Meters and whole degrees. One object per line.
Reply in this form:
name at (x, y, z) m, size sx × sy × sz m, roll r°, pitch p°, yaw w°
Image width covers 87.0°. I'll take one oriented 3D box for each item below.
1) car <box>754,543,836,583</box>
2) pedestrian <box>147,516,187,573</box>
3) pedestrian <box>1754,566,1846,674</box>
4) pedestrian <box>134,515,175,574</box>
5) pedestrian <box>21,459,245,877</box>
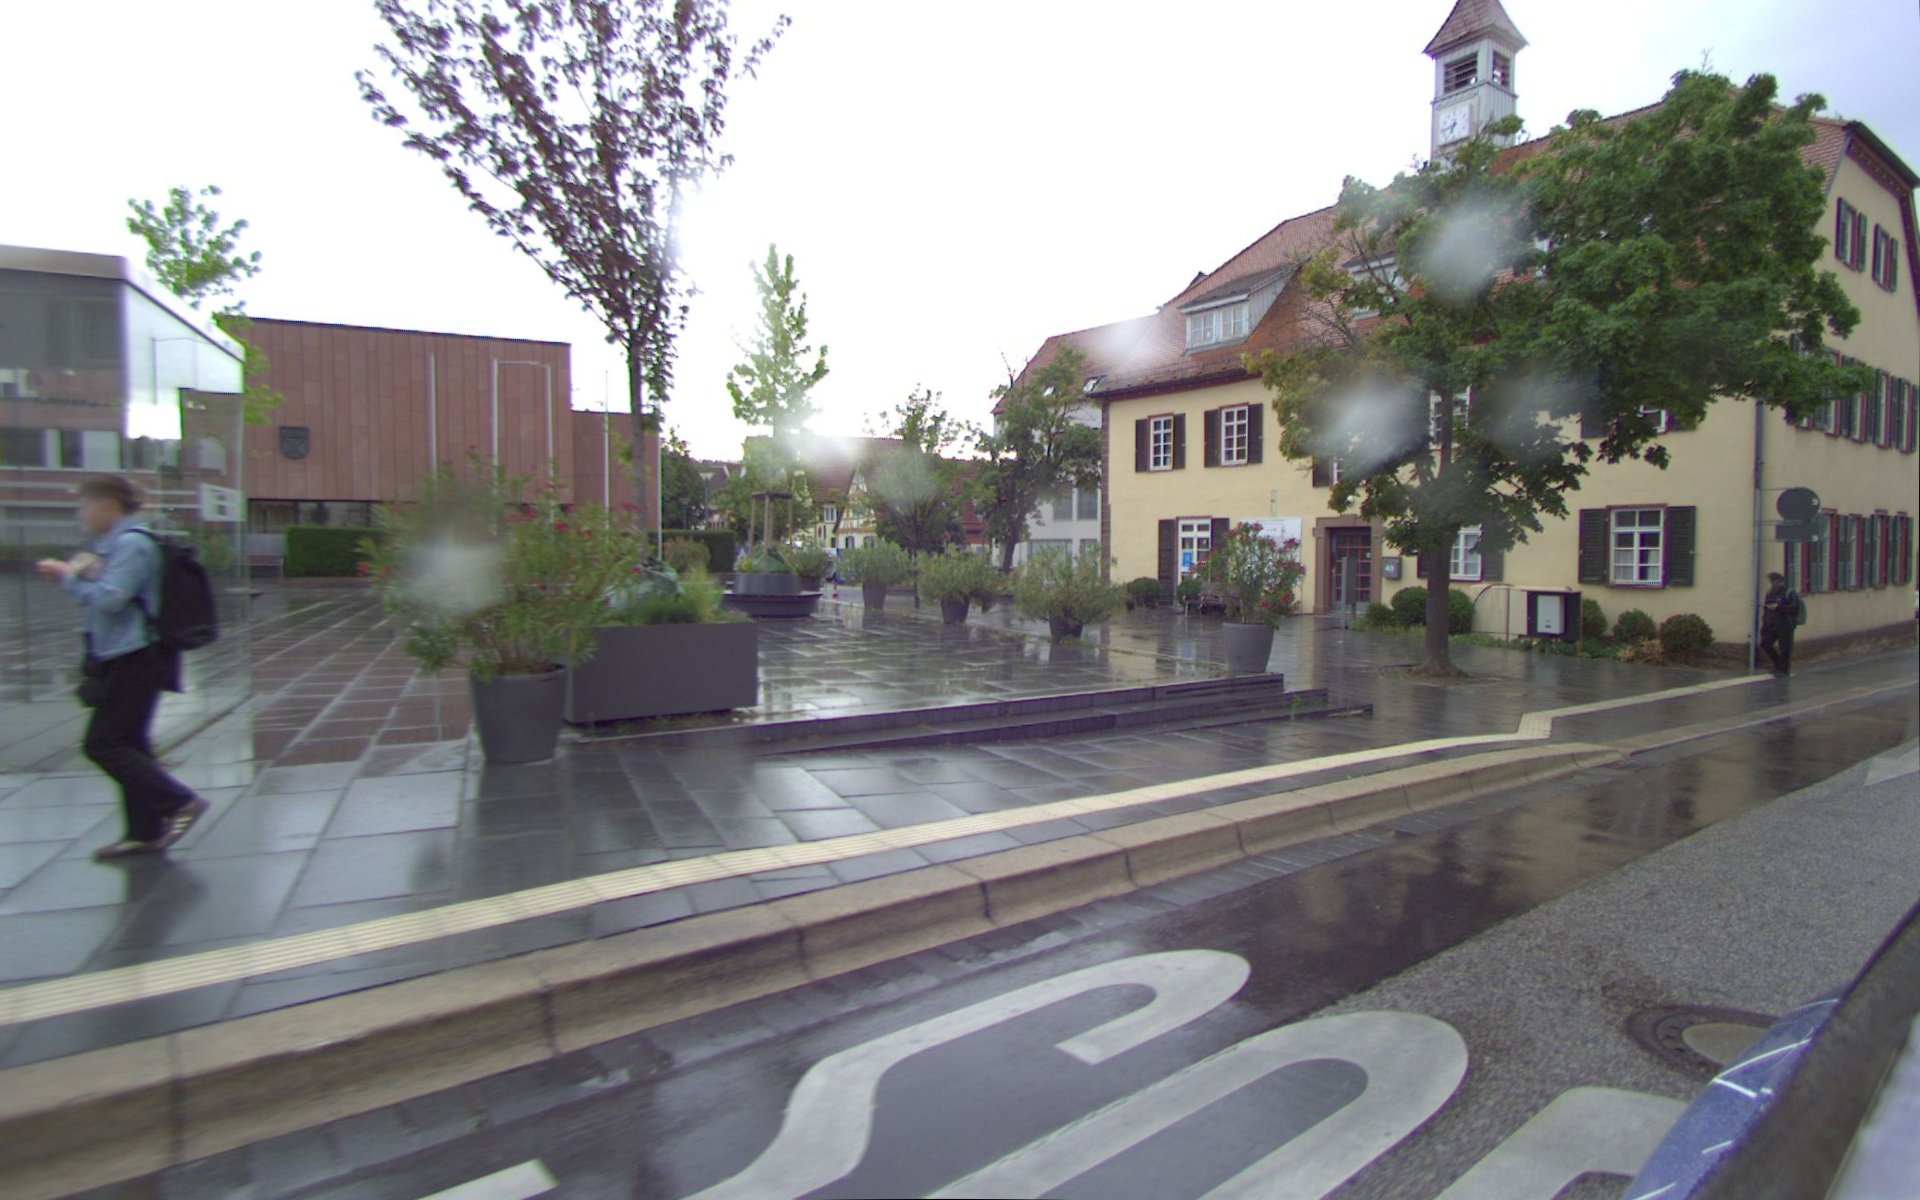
car at (-9.581, -2.156, 58.843) m, size 4.286 × 2.244 × 2.004 m, roll 0°, pitch 3°, yaw -26°
pedestrian at (-28.991, -2.040, 37.010) m, size 0.720 × 2.038 × 0.860 m, roll 2°, pitch 3°, yaw 10°
pedestrian at (13.860, 0.315, 16.730) m, size 0.853 × 1.714 × 0.715 m, roll 2°, pitch 2°, yaw 9°
pedestrian at (-28.719, -1.974, 36.081) m, size 0.720 × 2.038 × 0.860 m, roll 2°, pitch 3°, yaw 10°
pedestrian at (-3.573, 0.245, 4.444) m, size 0.680 × 1.636 × 0.731 m, roll -1°, pitch 3°, yaw -34°
